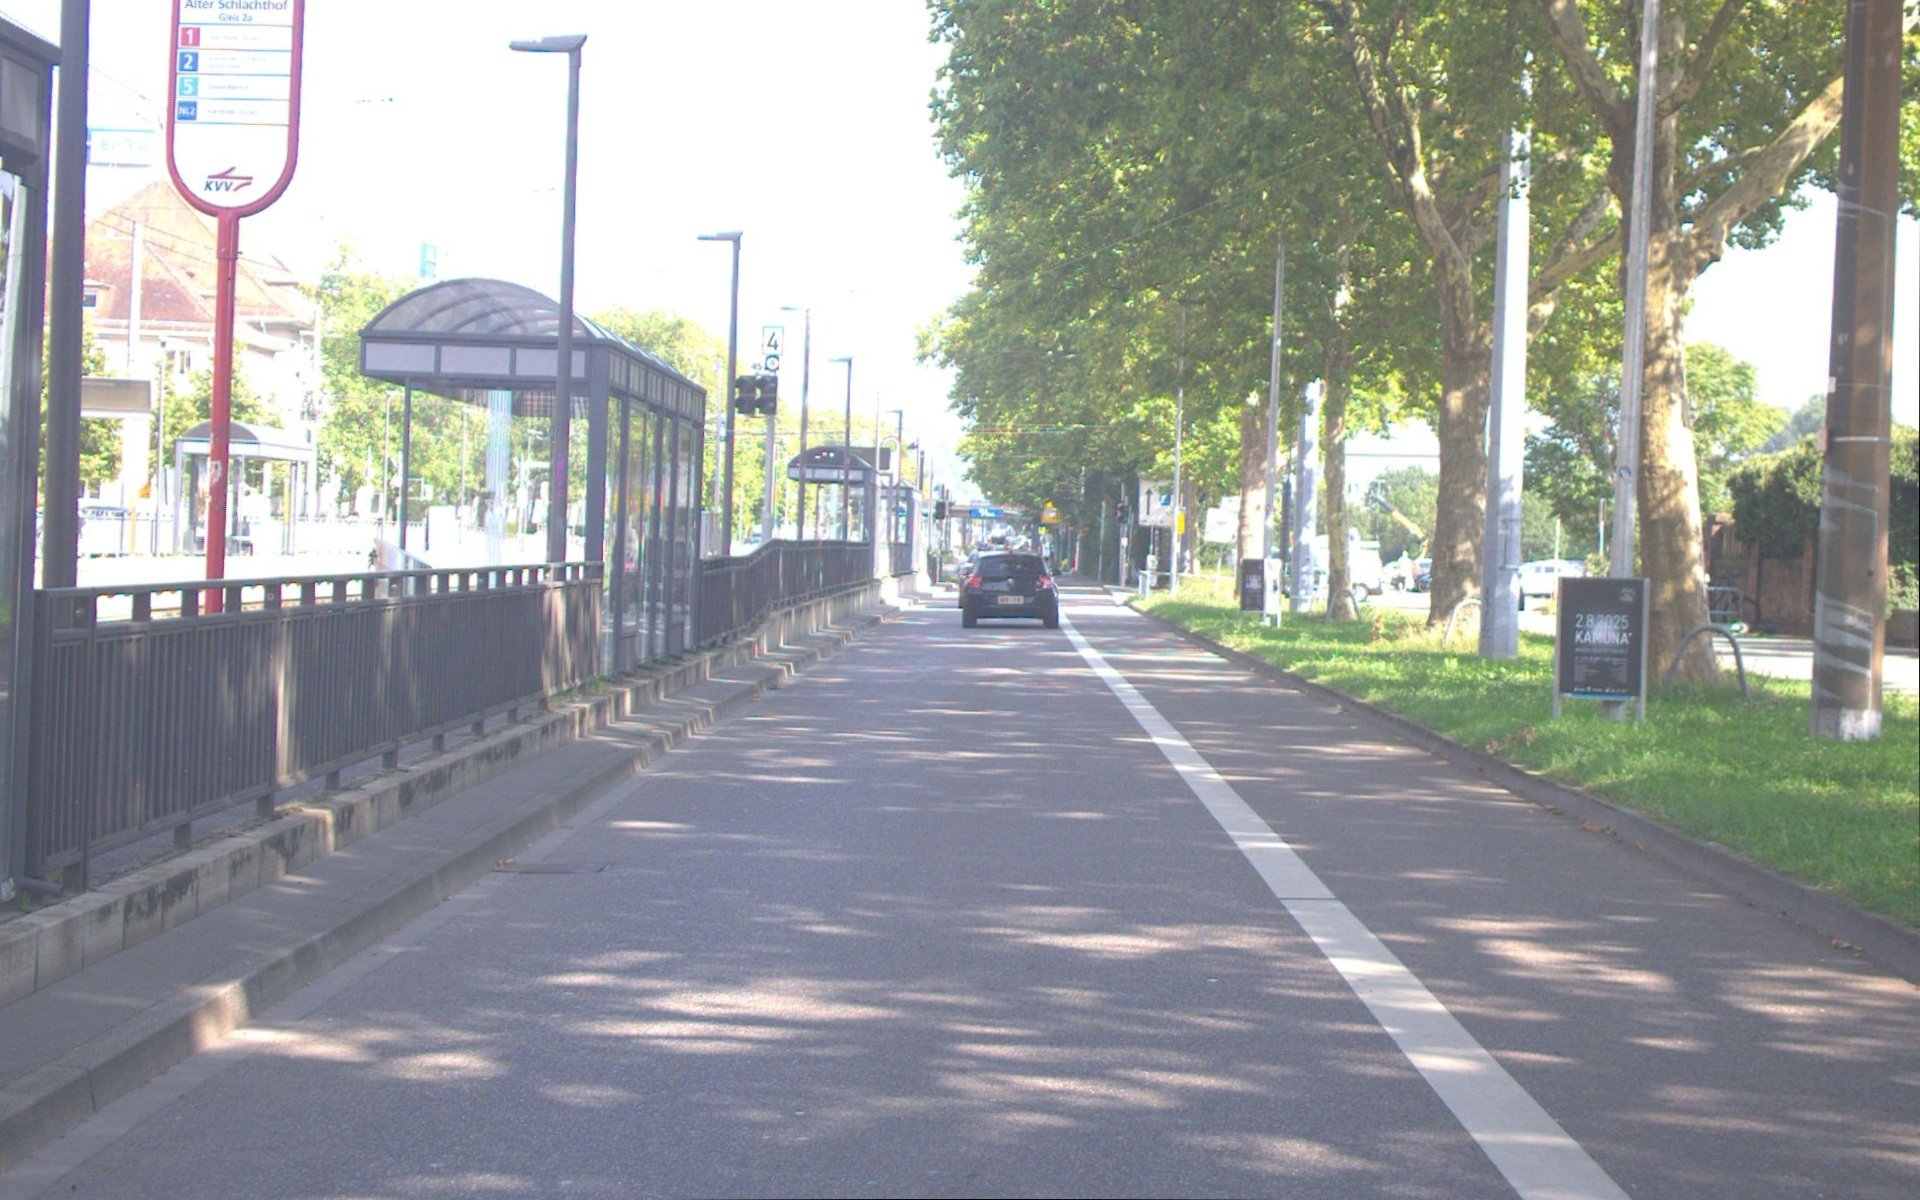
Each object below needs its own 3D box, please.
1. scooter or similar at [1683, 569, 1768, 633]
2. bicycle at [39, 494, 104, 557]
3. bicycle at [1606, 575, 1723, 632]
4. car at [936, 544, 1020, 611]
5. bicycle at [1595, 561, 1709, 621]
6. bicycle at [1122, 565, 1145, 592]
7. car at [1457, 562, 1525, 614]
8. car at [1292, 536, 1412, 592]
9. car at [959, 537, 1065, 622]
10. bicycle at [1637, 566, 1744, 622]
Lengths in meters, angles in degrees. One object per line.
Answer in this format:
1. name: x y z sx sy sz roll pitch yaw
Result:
1. scooter or similar: 14.415 0.019 64.751 1.506 1.187 0.538 1 0 5
2. bicycle: -16.773 -1.398 64.908 0.471 1.143 1.482 3 1 15
3. bicycle: 14.148 0.065 69.065 2.173 1.073 0.743 2 1 -1
4. car: 0.419 -0.565 83.470 1.973 1.532 4.000 -1 1 0
5. bicycle: 14.798 -0.181 73.575 2.244 1.272 0.999 0 0 0
6. bicycle: 6.926 -0.870 137.191 0.610 1.018 2.403 2 1 -3
7. car: 16.885 -0.385 109.362 1.608 1.570 3.796 1 1 1
8. car: 13.834 -1.289 121.557 4.104 1.912 1.847 1 1 4
9. car: 0.941 -0.397 64.256 1.907 1.532 4.000 0 1 0
10. bicycle: 14.073 -0.113 66.221 1.867 1.003 0.735 2 1 -1
